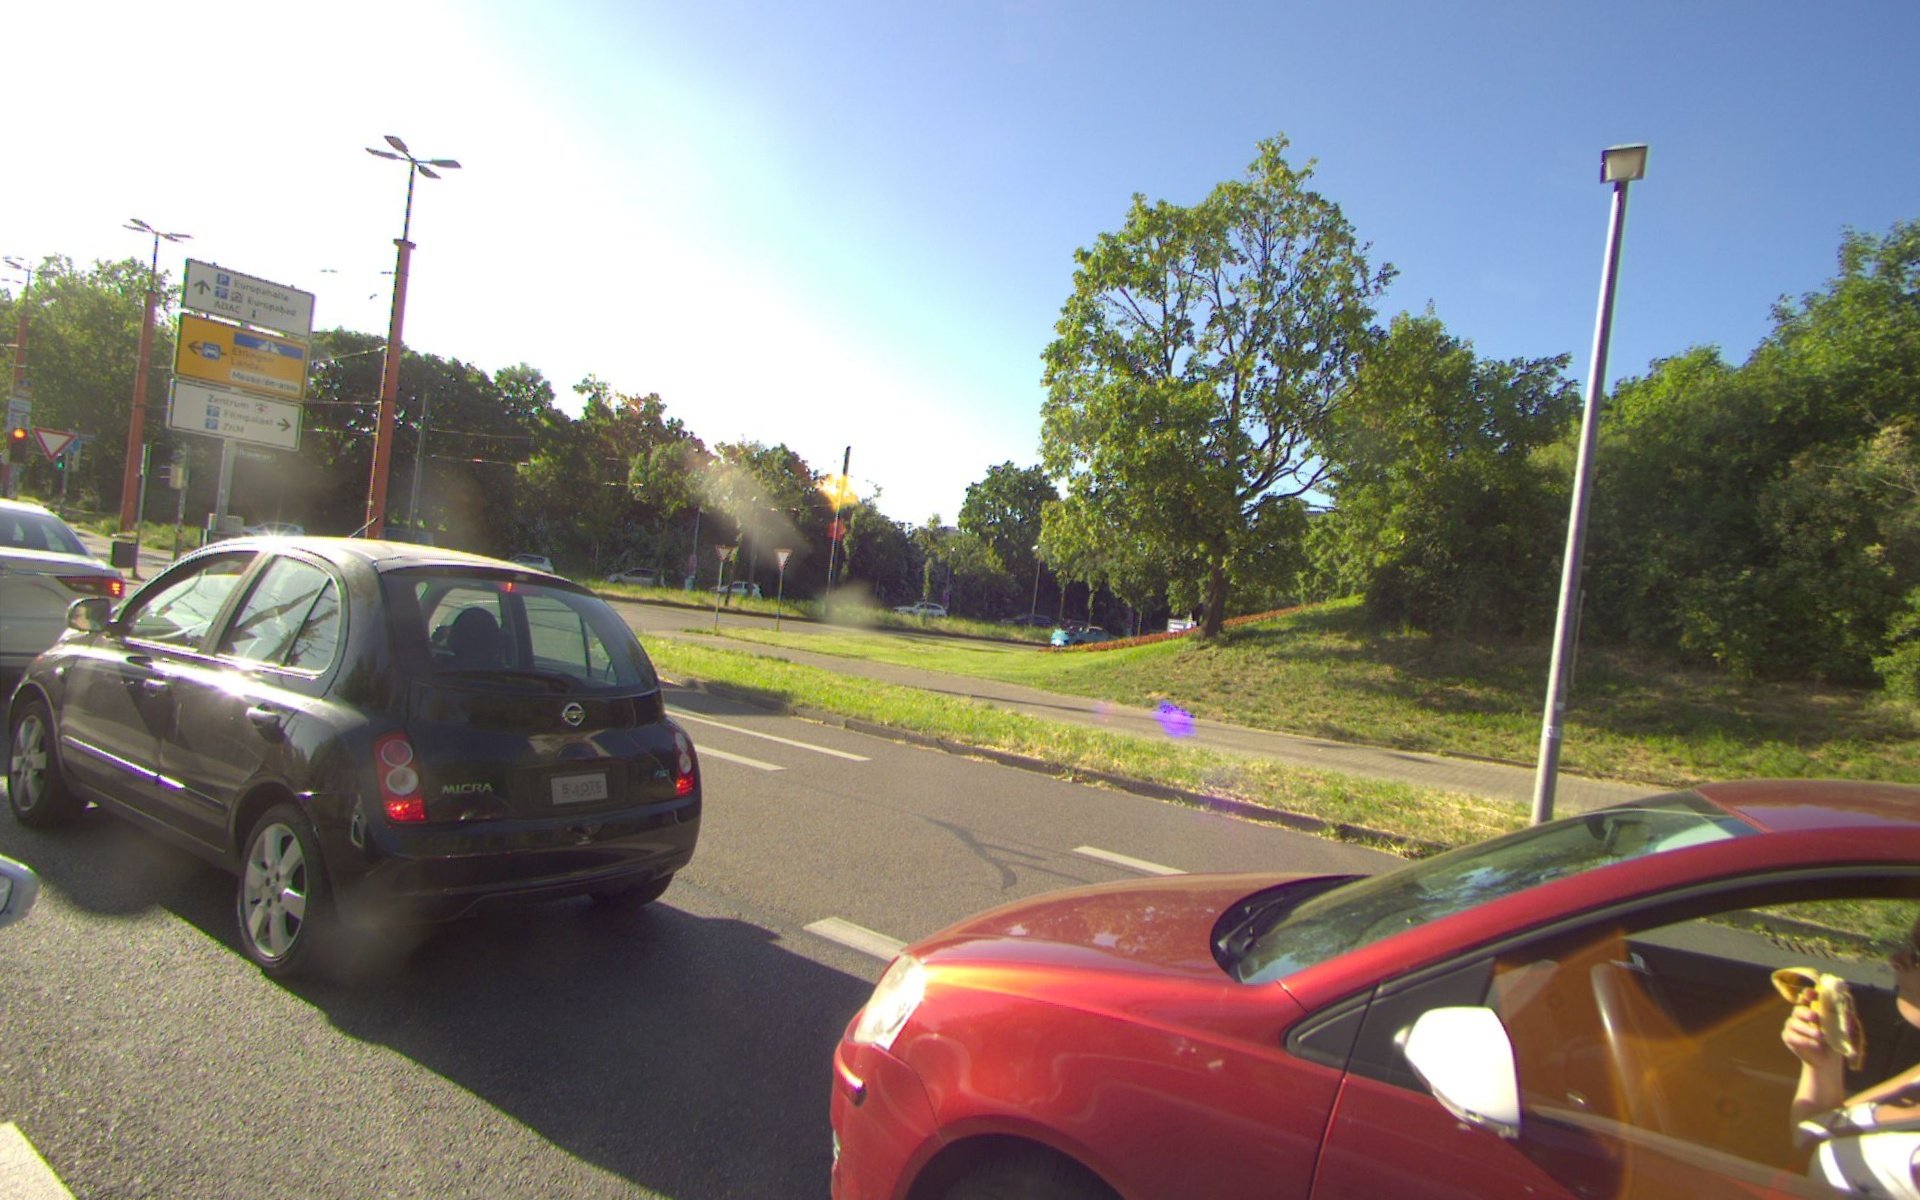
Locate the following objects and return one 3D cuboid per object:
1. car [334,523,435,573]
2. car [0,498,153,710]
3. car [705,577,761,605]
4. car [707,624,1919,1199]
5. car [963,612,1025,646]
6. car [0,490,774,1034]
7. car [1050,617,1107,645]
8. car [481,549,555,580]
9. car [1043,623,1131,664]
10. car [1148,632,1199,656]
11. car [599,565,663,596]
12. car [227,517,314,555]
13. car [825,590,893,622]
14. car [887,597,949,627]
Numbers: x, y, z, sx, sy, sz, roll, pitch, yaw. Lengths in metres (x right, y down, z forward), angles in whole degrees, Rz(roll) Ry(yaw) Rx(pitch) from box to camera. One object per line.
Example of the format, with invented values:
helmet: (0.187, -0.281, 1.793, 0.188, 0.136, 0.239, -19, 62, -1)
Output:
car: (-31.417, -2.802, 55.047, 4.535, 2.038, 1.985, 8, -1, -30)
car: (-8.357, -0.173, 8.014, 4.130, 1.454, 1.723, 7, -2, 33)
car: (-15.403, -0.633, 68.328, 3.413, 1.384, 1.280, 9, -2, -31)
car: (1.498, 1.019, 1.805, 3.700, 1.455, 1.644, 6, -2, 33)
car: (2.473, 2.127, 73.639, 4.169, 1.906, 1.750, 8, -1, -35)
car: (-2.840, 0.467, 4.705, 3.555, 1.518, 1.657, 7, -2, 32)
car: (9.843, 2.566, 83.307, 4.257, 1.725, 1.833, 8, -1, -29)
car: (-26.908, -2.170, 61.272, 3.804, 1.278, 1.590, 9, -3, -32)
car: (6.486, 2.218, 51.193, 4.086, 1.469, 1.725, 7, 2, -30)
car: (17.965, 3.697, 84.630, 3.970, 1.546, 1.694, 8, -1, -30)
car: (-20.134, -1.183, 61.583, 3.371, 1.475, 1.452, 8, -1, -32)
car: (-37.544, -3.492, 54.861, 3.710, 1.491, 1.587, 8, -1, -32)
car: (-6.785, 0.387, 67.910, 4.000, 1.615, 1.981, 8, -1, -35)
car: (-3.122, 0.891, 75.485, 4.195, 1.701, 1.690, 8, -1, -29)
